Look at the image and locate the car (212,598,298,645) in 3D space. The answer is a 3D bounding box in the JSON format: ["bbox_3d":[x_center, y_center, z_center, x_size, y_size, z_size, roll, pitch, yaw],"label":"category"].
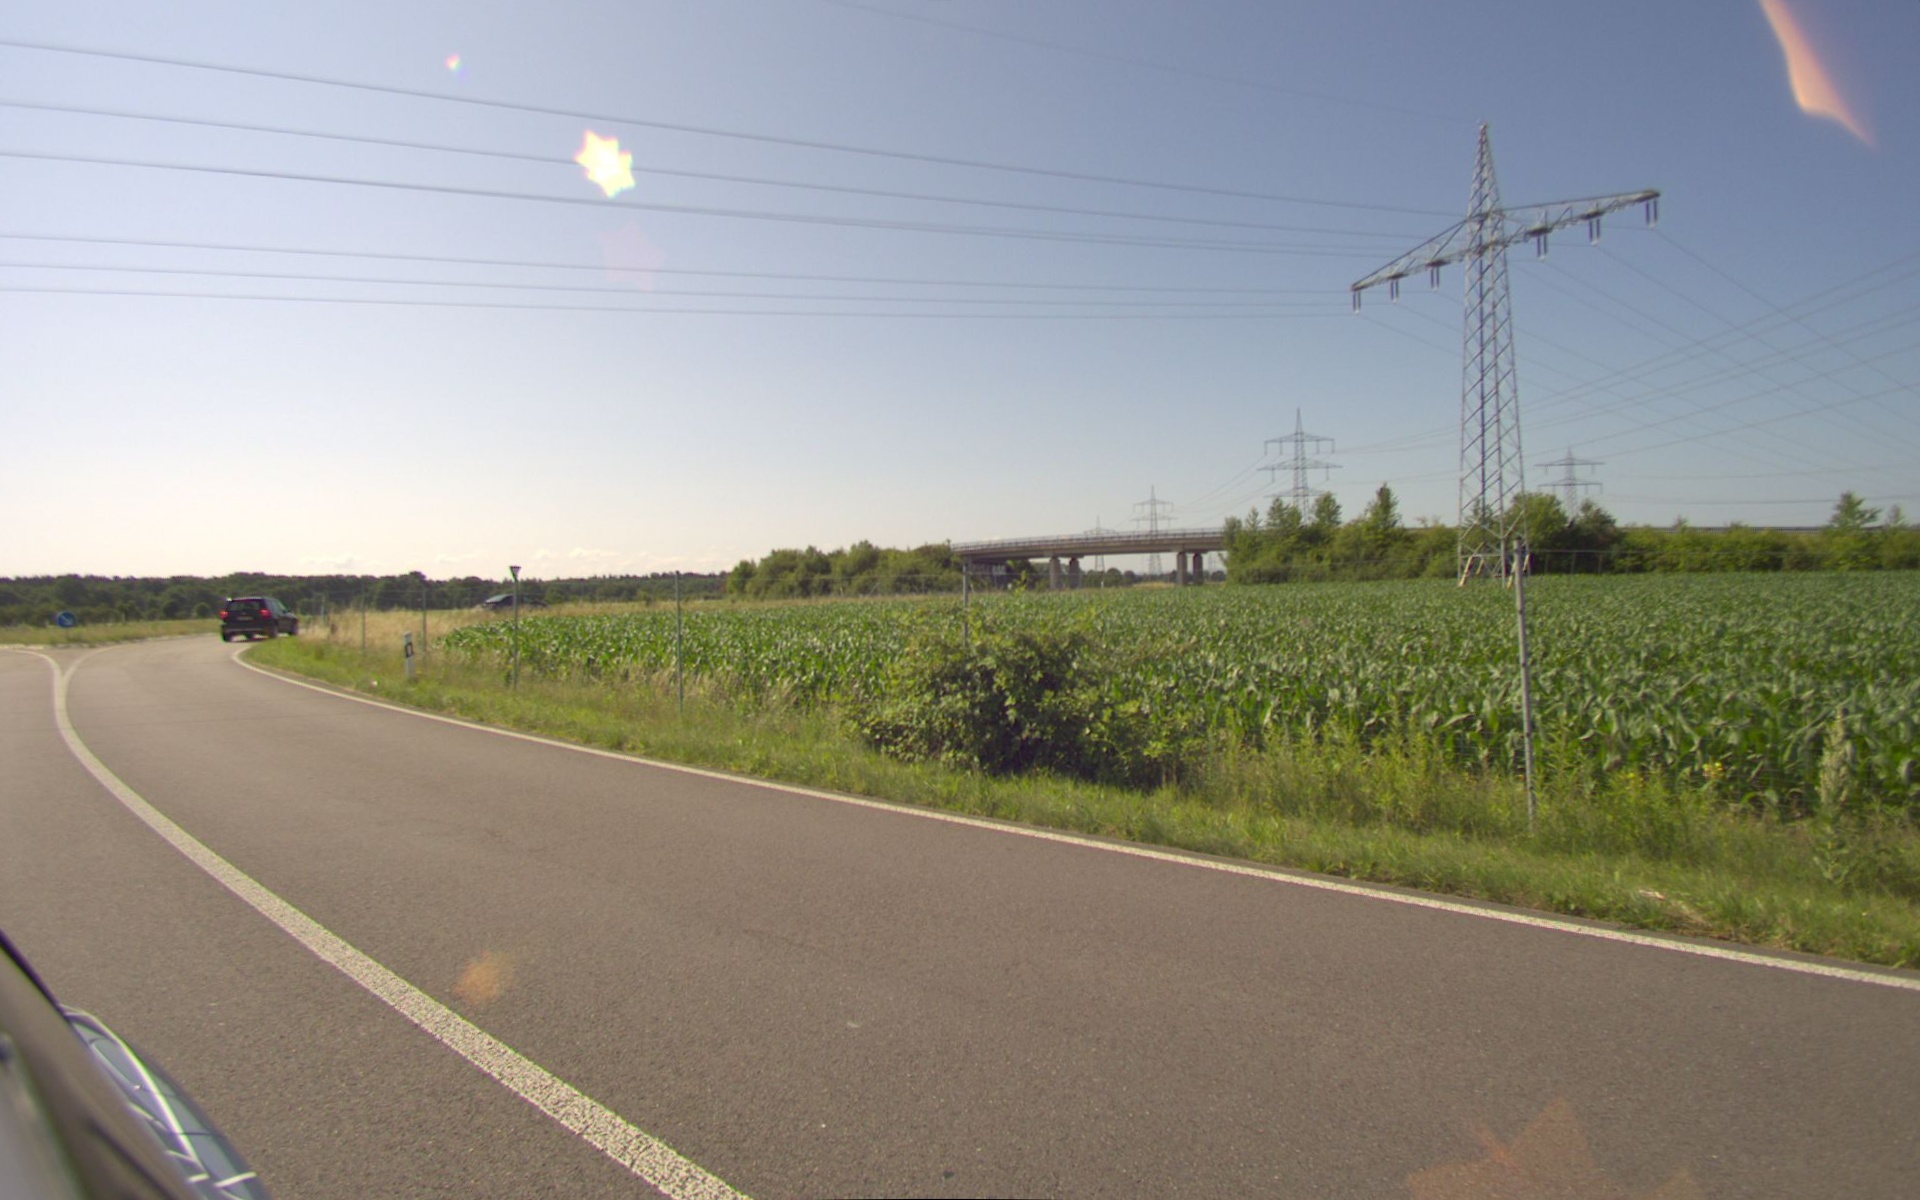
[{"bbox_3d":[-27.903,0.813,40.192,1.955,1.719,4.275,0,1,-23],"label":"car"}]

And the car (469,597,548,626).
[{"bbox_3d":[-26.599,0.674,59.807,1.764,1.467,4.570,-2,1,15],"label":"car"}]
